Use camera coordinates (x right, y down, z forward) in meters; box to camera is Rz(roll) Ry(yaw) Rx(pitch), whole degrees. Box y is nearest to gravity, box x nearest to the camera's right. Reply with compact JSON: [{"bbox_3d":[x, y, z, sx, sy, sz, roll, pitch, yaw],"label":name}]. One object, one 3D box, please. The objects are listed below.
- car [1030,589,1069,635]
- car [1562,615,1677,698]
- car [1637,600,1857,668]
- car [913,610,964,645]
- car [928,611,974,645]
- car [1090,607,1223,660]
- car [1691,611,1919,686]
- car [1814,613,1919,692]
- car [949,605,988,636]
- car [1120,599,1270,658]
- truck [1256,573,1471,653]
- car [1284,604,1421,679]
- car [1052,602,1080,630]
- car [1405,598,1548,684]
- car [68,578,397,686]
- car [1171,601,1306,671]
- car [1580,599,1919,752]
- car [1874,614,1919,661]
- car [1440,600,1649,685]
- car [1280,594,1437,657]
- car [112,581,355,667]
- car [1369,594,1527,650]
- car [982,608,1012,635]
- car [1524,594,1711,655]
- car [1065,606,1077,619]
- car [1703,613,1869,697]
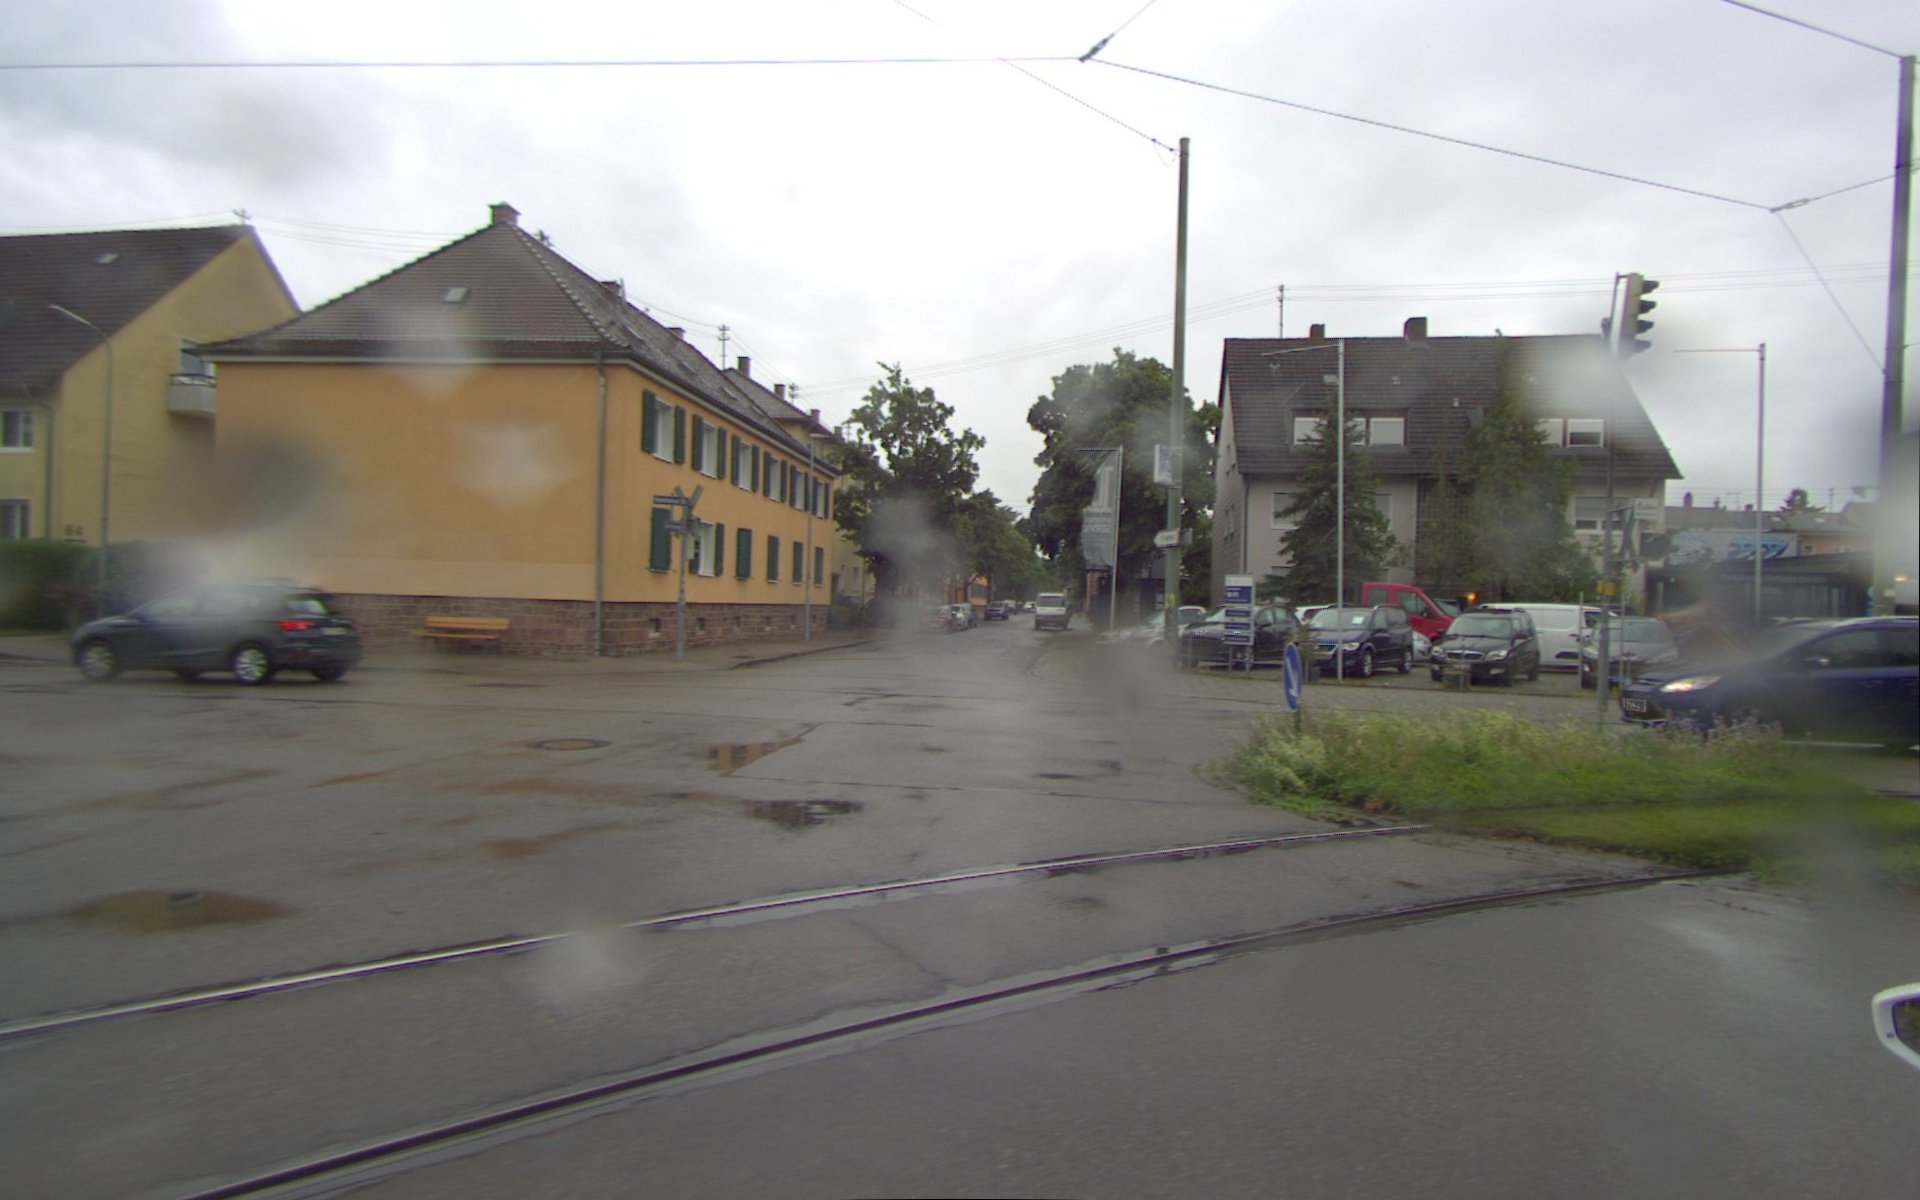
[{"bbox_3d":[5.548,0.750,61.796,2.116,2.606,4.136,4,0,6],"label":"car"},{"bbox_3d":[14.557,1.207,22.077,1.804,1.524,4.043,4,0,37],"label":"car"},{"bbox_3d":[21.786,0.925,27.993,4.357,1.709,2.001,1,-1,11],"label":"car"},{"bbox_3d":[-1.028,1.353,50.341,1.959,1.639,4.002,2,-1,7],"label":"car"},{"bbox_3d":[-0.442,1.511,55.074,1.959,1.773,4.002,2,-1,7],"label":"car"},{"bbox_3d":[6.282,1.064,32.316,3.803,1.600,1.804,1,0,-11],"label":"car"},{"bbox_3d":[21.552,1.205,25.624,4.357,1.709,1.762,1,-1,11],"label":"car"},{"bbox_3d":[20.658,1.099,21.610,1.771,1.599,3.874,1,0,10],"label":"car"},{"bbox_3d":[0.554,1.229,61.387,1.959,1.773,4.002,2,-1,7],"label":"car"},{"bbox_3d":[6.714,0.819,28.873,3.803,1.600,1.804,1,0,-11],"label":"car"},{"bbox_3d":[12.492,0.356,31.224,5.992,2.302,1.997,1,-1,29],"label":"truck"},{"bbox_3d":[9.236,0.920,23.489,1.781,1.599,3.852,1,-1,41],"label":"car"},{"bbox_3d":[8.619,1.292,81.670,1.960,2.040,4.002,4,0,9],"label":"car"},{"bbox_3d":[11.705,0.877,22.646,1.971,1.739,3.980,1,-1,41],"label":"car"},{"bbox_3d":[-11.455,0.471,15.984,3.919,1.496,2.001,1,0,8],"label":"car"},{"bbox_3d":[7.062,0.874,25.262,1.781,1.599,3.852,1,-1,41],"label":"car"},{"bbox_3d":[10.879,0.950,12.876,4.480,1.626,2.001,4,0,7],"label":"car"},{"bbox_3d":[32.214,1.290,32.534,1.751,1.518,4.002,4,0,6],"label":"car"},{"bbox_3d":[15.435,1.095,26.760,4.357,2.040,2.001,1,-1,11],"label":"car"},{"bbox_3d":[11.299,0.703,28.475,3.907,1.619,1.997,1,-1,29],"label":"car"},{"bbox_3d":[-14.056,0.446,19.541,3.544,1.356,1.724,4,0,6],"label":"car"},{"bbox_3d":[16.278,0.746,33.722,4.357,1.709,2.001,1,-1,11],"label":"car"},{"bbox_3d":[3.151,1.777,84.699,1.960,2.040,4.002,4,0,9],"label":"car"},{"bbox_3d":[20.103,0.746,30.925,4.357,1.709,2.001,1,-1,11],"label":"car"},{"bbox_3d":[18.009,1.982,163.130,1.797,2.040,4.002,4,0,6],"label":"car"},{"bbox_3d":[17.700,1.131,21.741,1.799,1.524,4.054,4,0,26],"label":"car"}]
